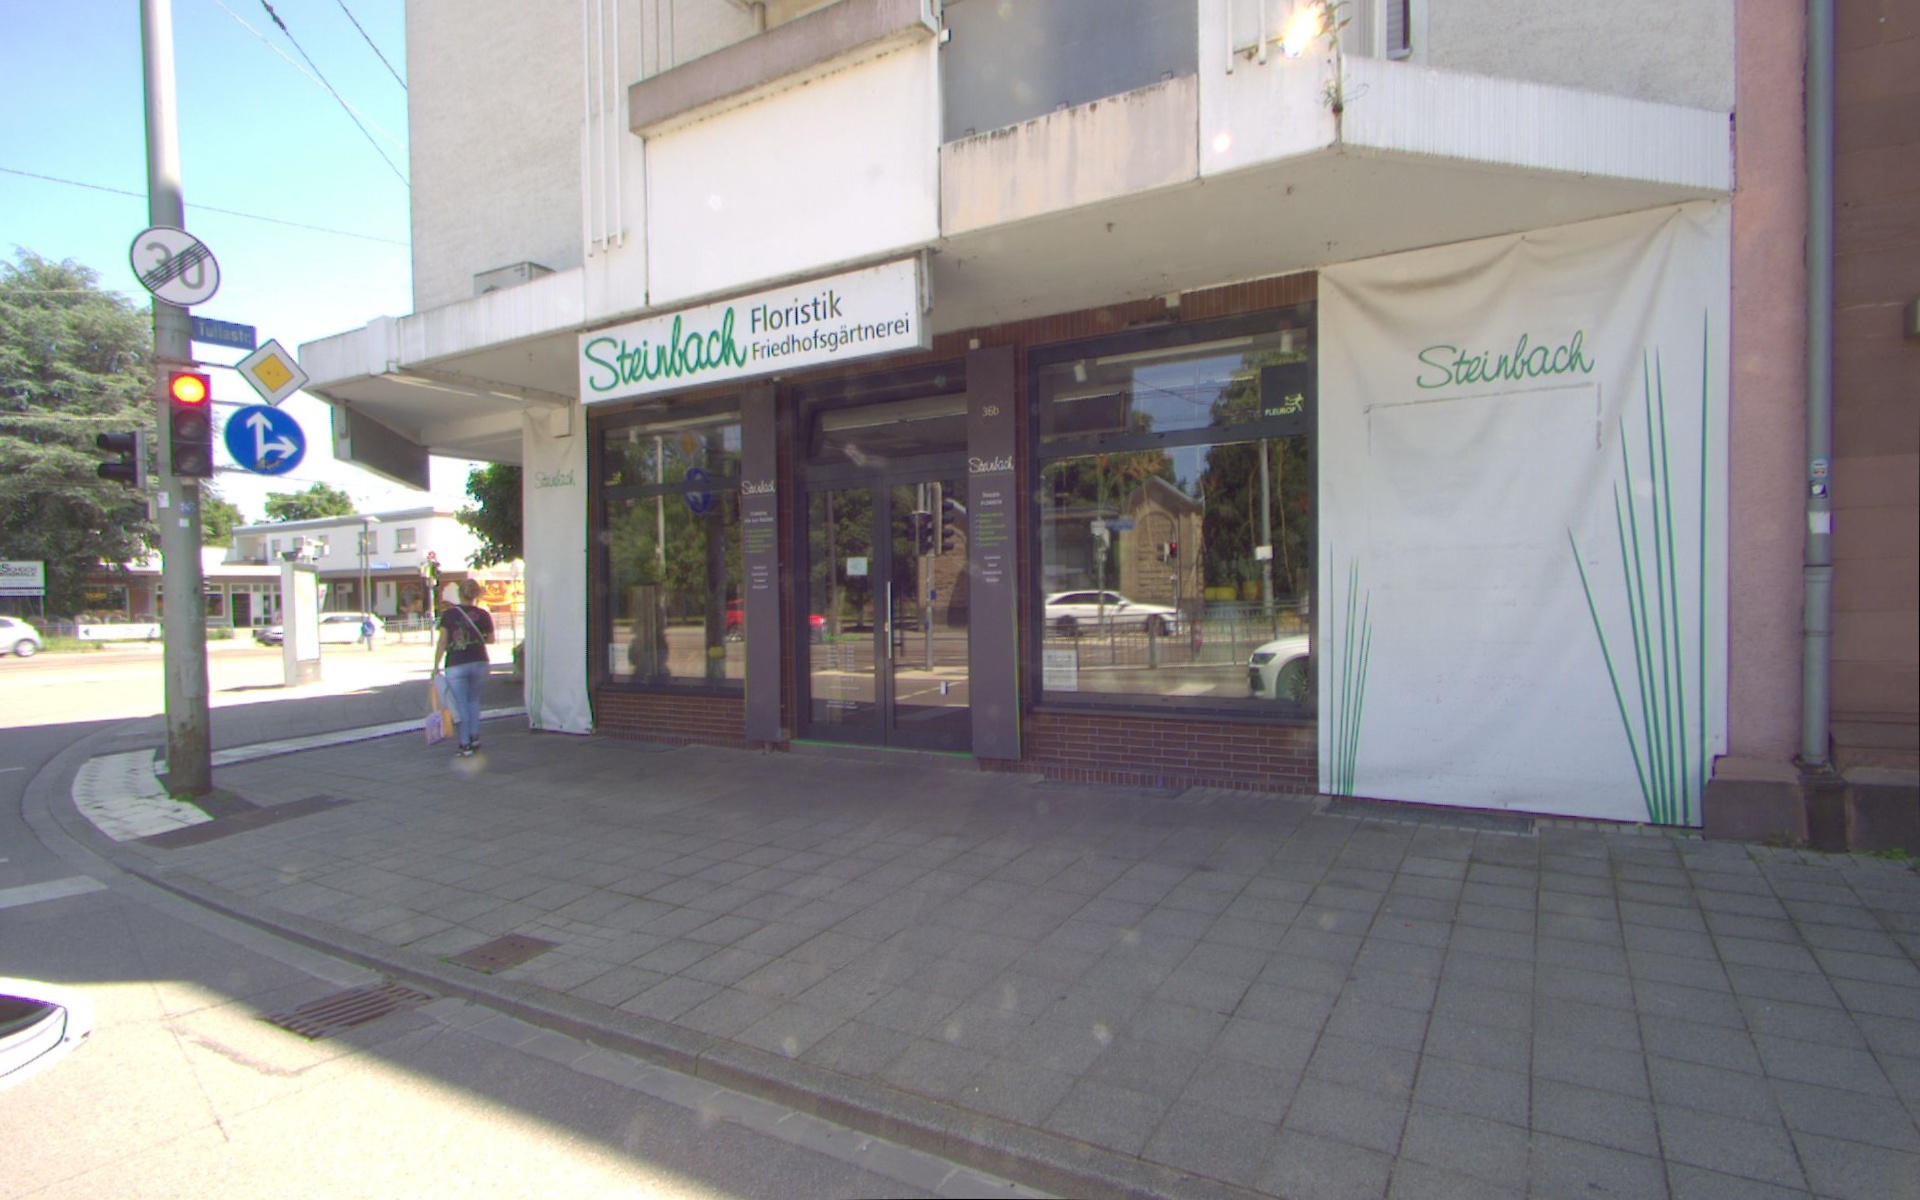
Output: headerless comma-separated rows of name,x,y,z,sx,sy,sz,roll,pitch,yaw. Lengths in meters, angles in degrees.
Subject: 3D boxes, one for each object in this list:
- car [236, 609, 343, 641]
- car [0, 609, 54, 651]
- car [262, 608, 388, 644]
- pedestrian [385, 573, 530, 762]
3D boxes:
car,-31.110,1.125,46.584,1.618,1.369,3.823,0,0,30
car,-33.376,1.023,33.634,1.791,1.381,4.046,0,0,16
car,-28.471,1.135,45.057,1.797,1.509,4.477,0,0,30
pedestrian,-4.620,0.579,9.222,0.816,1.606,0.822,0,4,38
